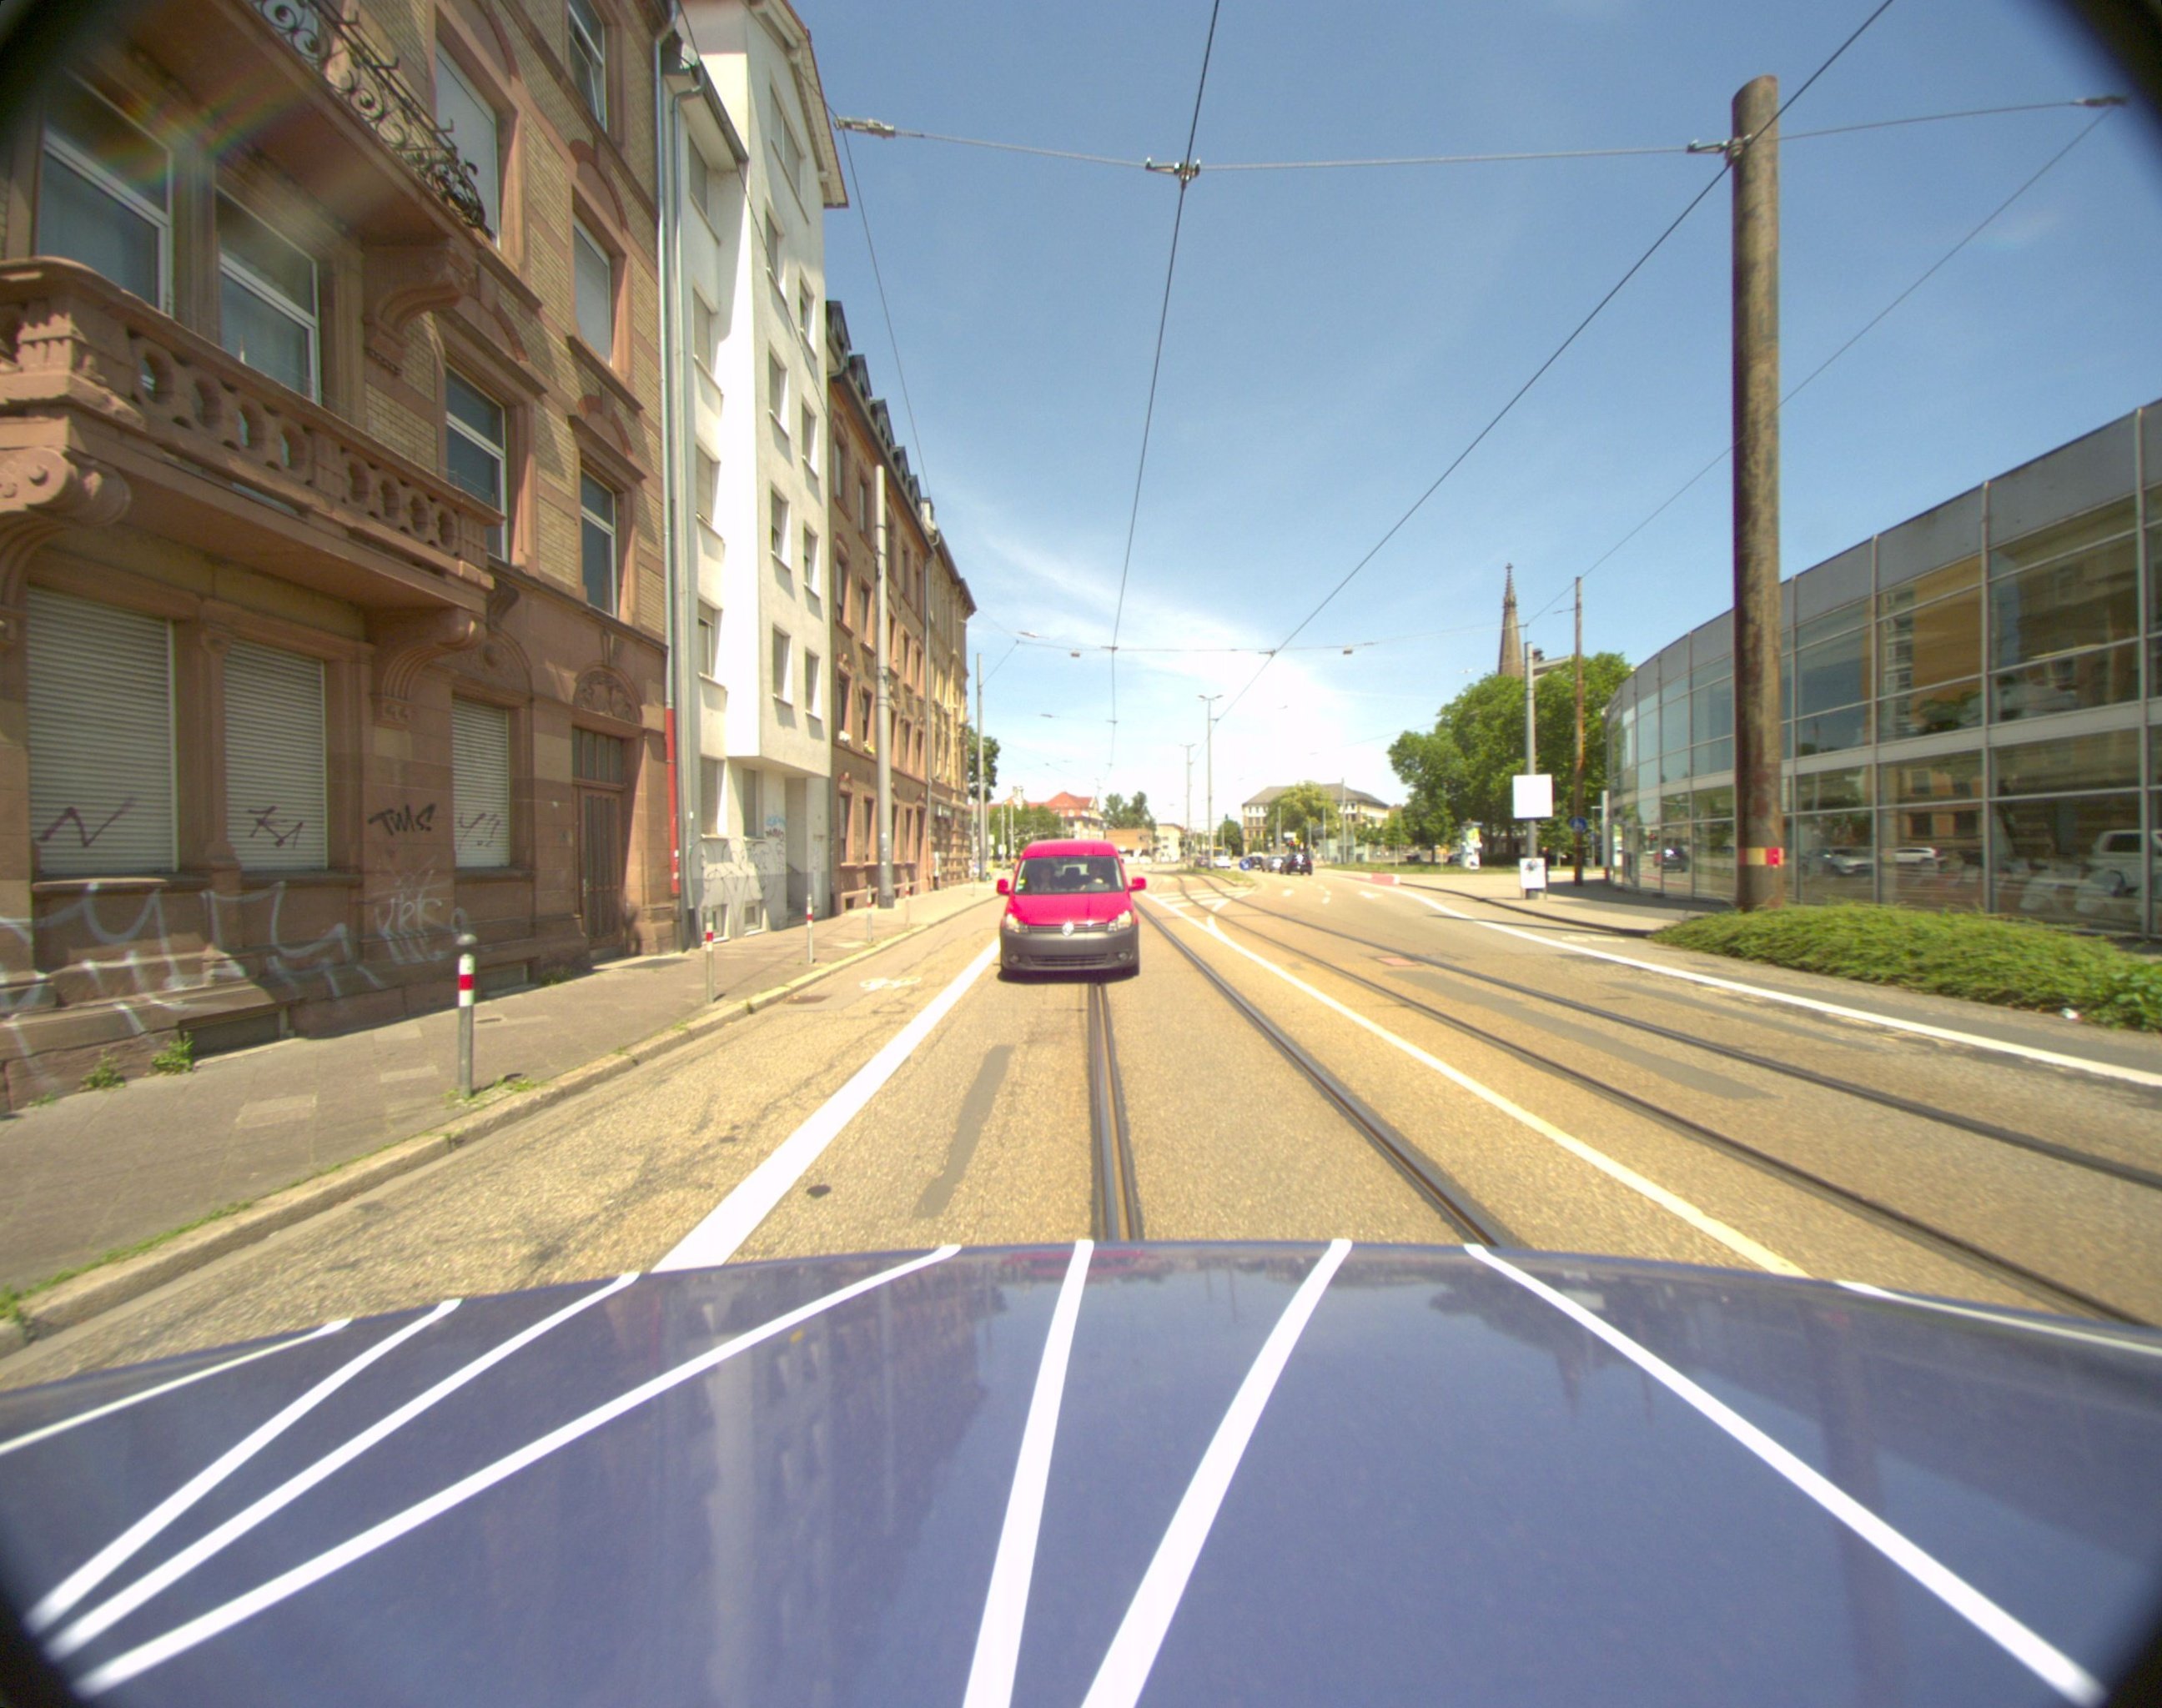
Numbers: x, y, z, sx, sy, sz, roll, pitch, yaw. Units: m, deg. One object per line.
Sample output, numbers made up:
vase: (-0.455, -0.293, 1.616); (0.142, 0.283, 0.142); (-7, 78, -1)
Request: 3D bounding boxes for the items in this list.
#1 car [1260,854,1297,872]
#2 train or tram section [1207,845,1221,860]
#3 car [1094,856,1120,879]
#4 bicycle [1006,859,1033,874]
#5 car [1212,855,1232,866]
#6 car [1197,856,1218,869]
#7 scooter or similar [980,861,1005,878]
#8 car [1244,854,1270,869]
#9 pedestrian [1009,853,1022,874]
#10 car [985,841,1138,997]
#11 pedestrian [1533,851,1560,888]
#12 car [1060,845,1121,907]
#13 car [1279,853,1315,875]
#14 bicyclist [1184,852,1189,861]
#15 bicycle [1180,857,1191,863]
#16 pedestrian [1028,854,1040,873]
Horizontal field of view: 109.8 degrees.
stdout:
car: (17.285, 0.771, 66.818); (1.998, 1.521, 5.131); (1, 0, 1)
train or tram section: (29.015, -0.251, 165.145); (2.839, 3.195, 9.117); (-1, 0, 11)
car: (1.582, 0.818, 47.370); (1.571, 1.346, 3.459); (-1, 0, 1)
bicycle: (-5.513, 1.130, 68.270); (2.225, 1.243, 1.096); (-1, 0, -43)
car: (17.352, 0.785, 93.587); (1.711, 1.291, 4.203); (1, 0, 0)
car: (14.807, 0.954, 89.096); (1.847, 1.471, 4.331); (0, -1, 2)
scooter or similar: (-6.148, 1.100, 52.770); (1.527, 1.149, 0.713); (-1, 0, -28)
car: (17.479, 0.698, 75.667); (1.675, 1.453, 3.904); (0, 0, 1)
pedestrian: (-5.885, 0.846, 67.927); (0.826, 1.765, 0.812); (-2, 2, -43)
car: (-0.127, 0.760, 10.887); (1.755, 1.802, 4.098); (-1, 0, 3)
pedestrian: (20.765, 0.694, 33.901); (0.729, 1.632, 0.820); (-1, 0, 4)
car: (0.353, 0.691, 25.873); (1.874, 1.954, 3.824); (-1, 0, 1)
car: (16.556, 0.762, 58.431); (1.826, 1.617, 4.526); (0, 0, 4)
bicyclist: (18.803, 0.421, 135.324); (0.813, 1.678, 0.528); (-1, 0, -4)
bicycle: (18.540, 1.106, 135.299); (1.906, 0.973, 0.528); (-1, 0, -4)
pedestrian: (-4.512, 0.941, 72.754); (0.808, 1.769, 0.876); (-1, 1, 33)
